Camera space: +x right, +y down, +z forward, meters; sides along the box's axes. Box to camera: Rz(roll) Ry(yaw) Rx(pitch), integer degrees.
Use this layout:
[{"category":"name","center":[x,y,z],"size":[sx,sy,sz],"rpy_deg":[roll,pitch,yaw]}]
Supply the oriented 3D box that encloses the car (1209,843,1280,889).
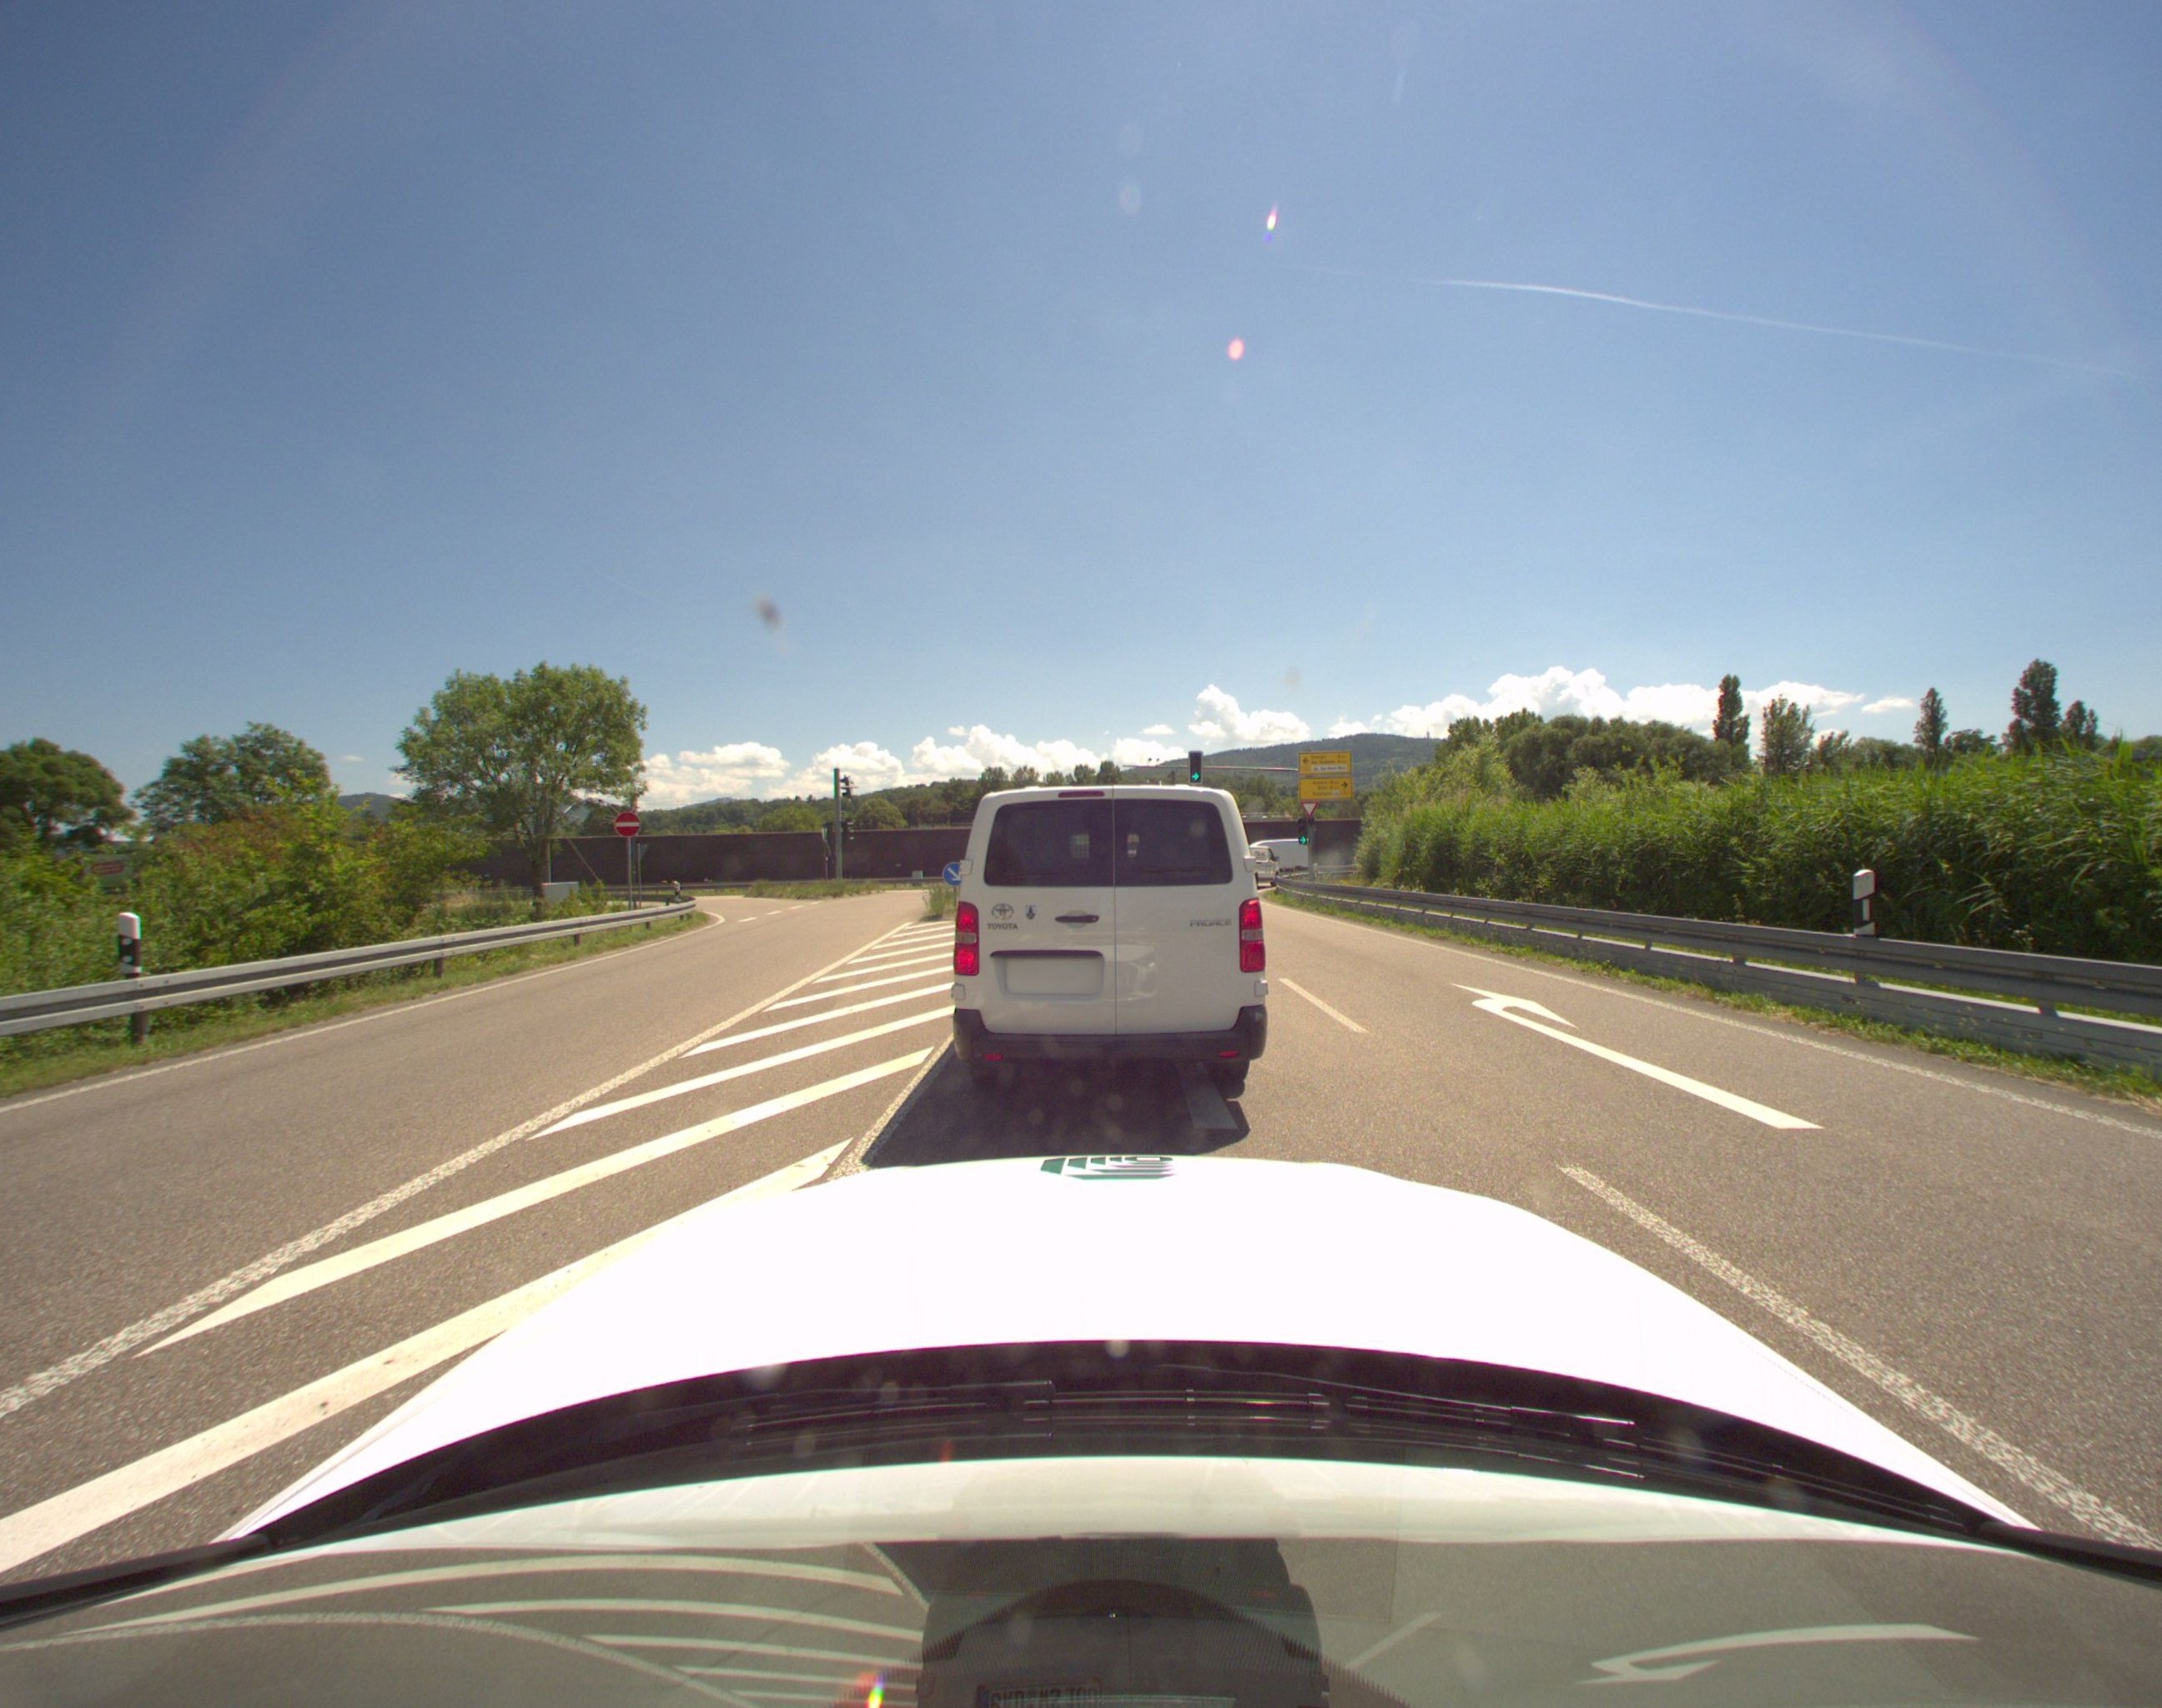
[{"category":"car","center":[7.631,0.528,37.662],"size":[1.910,2.000,4.866],"rpy_deg":[-1,-1,27]}]

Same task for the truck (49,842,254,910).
[{"category":"truck","center":[-50.454,1.188,44.280],"size":[9.028,3.470,2.128],"rpy_deg":[-1,-1,3]}]

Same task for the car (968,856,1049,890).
[{"category":"car","center":[-3.715,0.975,42.427],"size":[1.974,1.656,4.351],"rpy_deg":[-1,-1,32]}]

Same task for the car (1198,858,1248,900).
[{"category":"car","center":[5.131,0.865,29.375],"size":[1.645,1.431,3.375],"rpy_deg":[-1,-1,10]}]

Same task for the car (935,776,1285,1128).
[{"category":"car","center":[0.199,0.546,6.411],"size":[1.880,1.886,4.001],"rpy_deg":[-1,-1,1]}]

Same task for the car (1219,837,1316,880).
[{"category":"car","center":[11.186,0.268,49.045],"size":[5.329,2.450,2.038],"rpy_deg":[-1,-1,-1]}]
